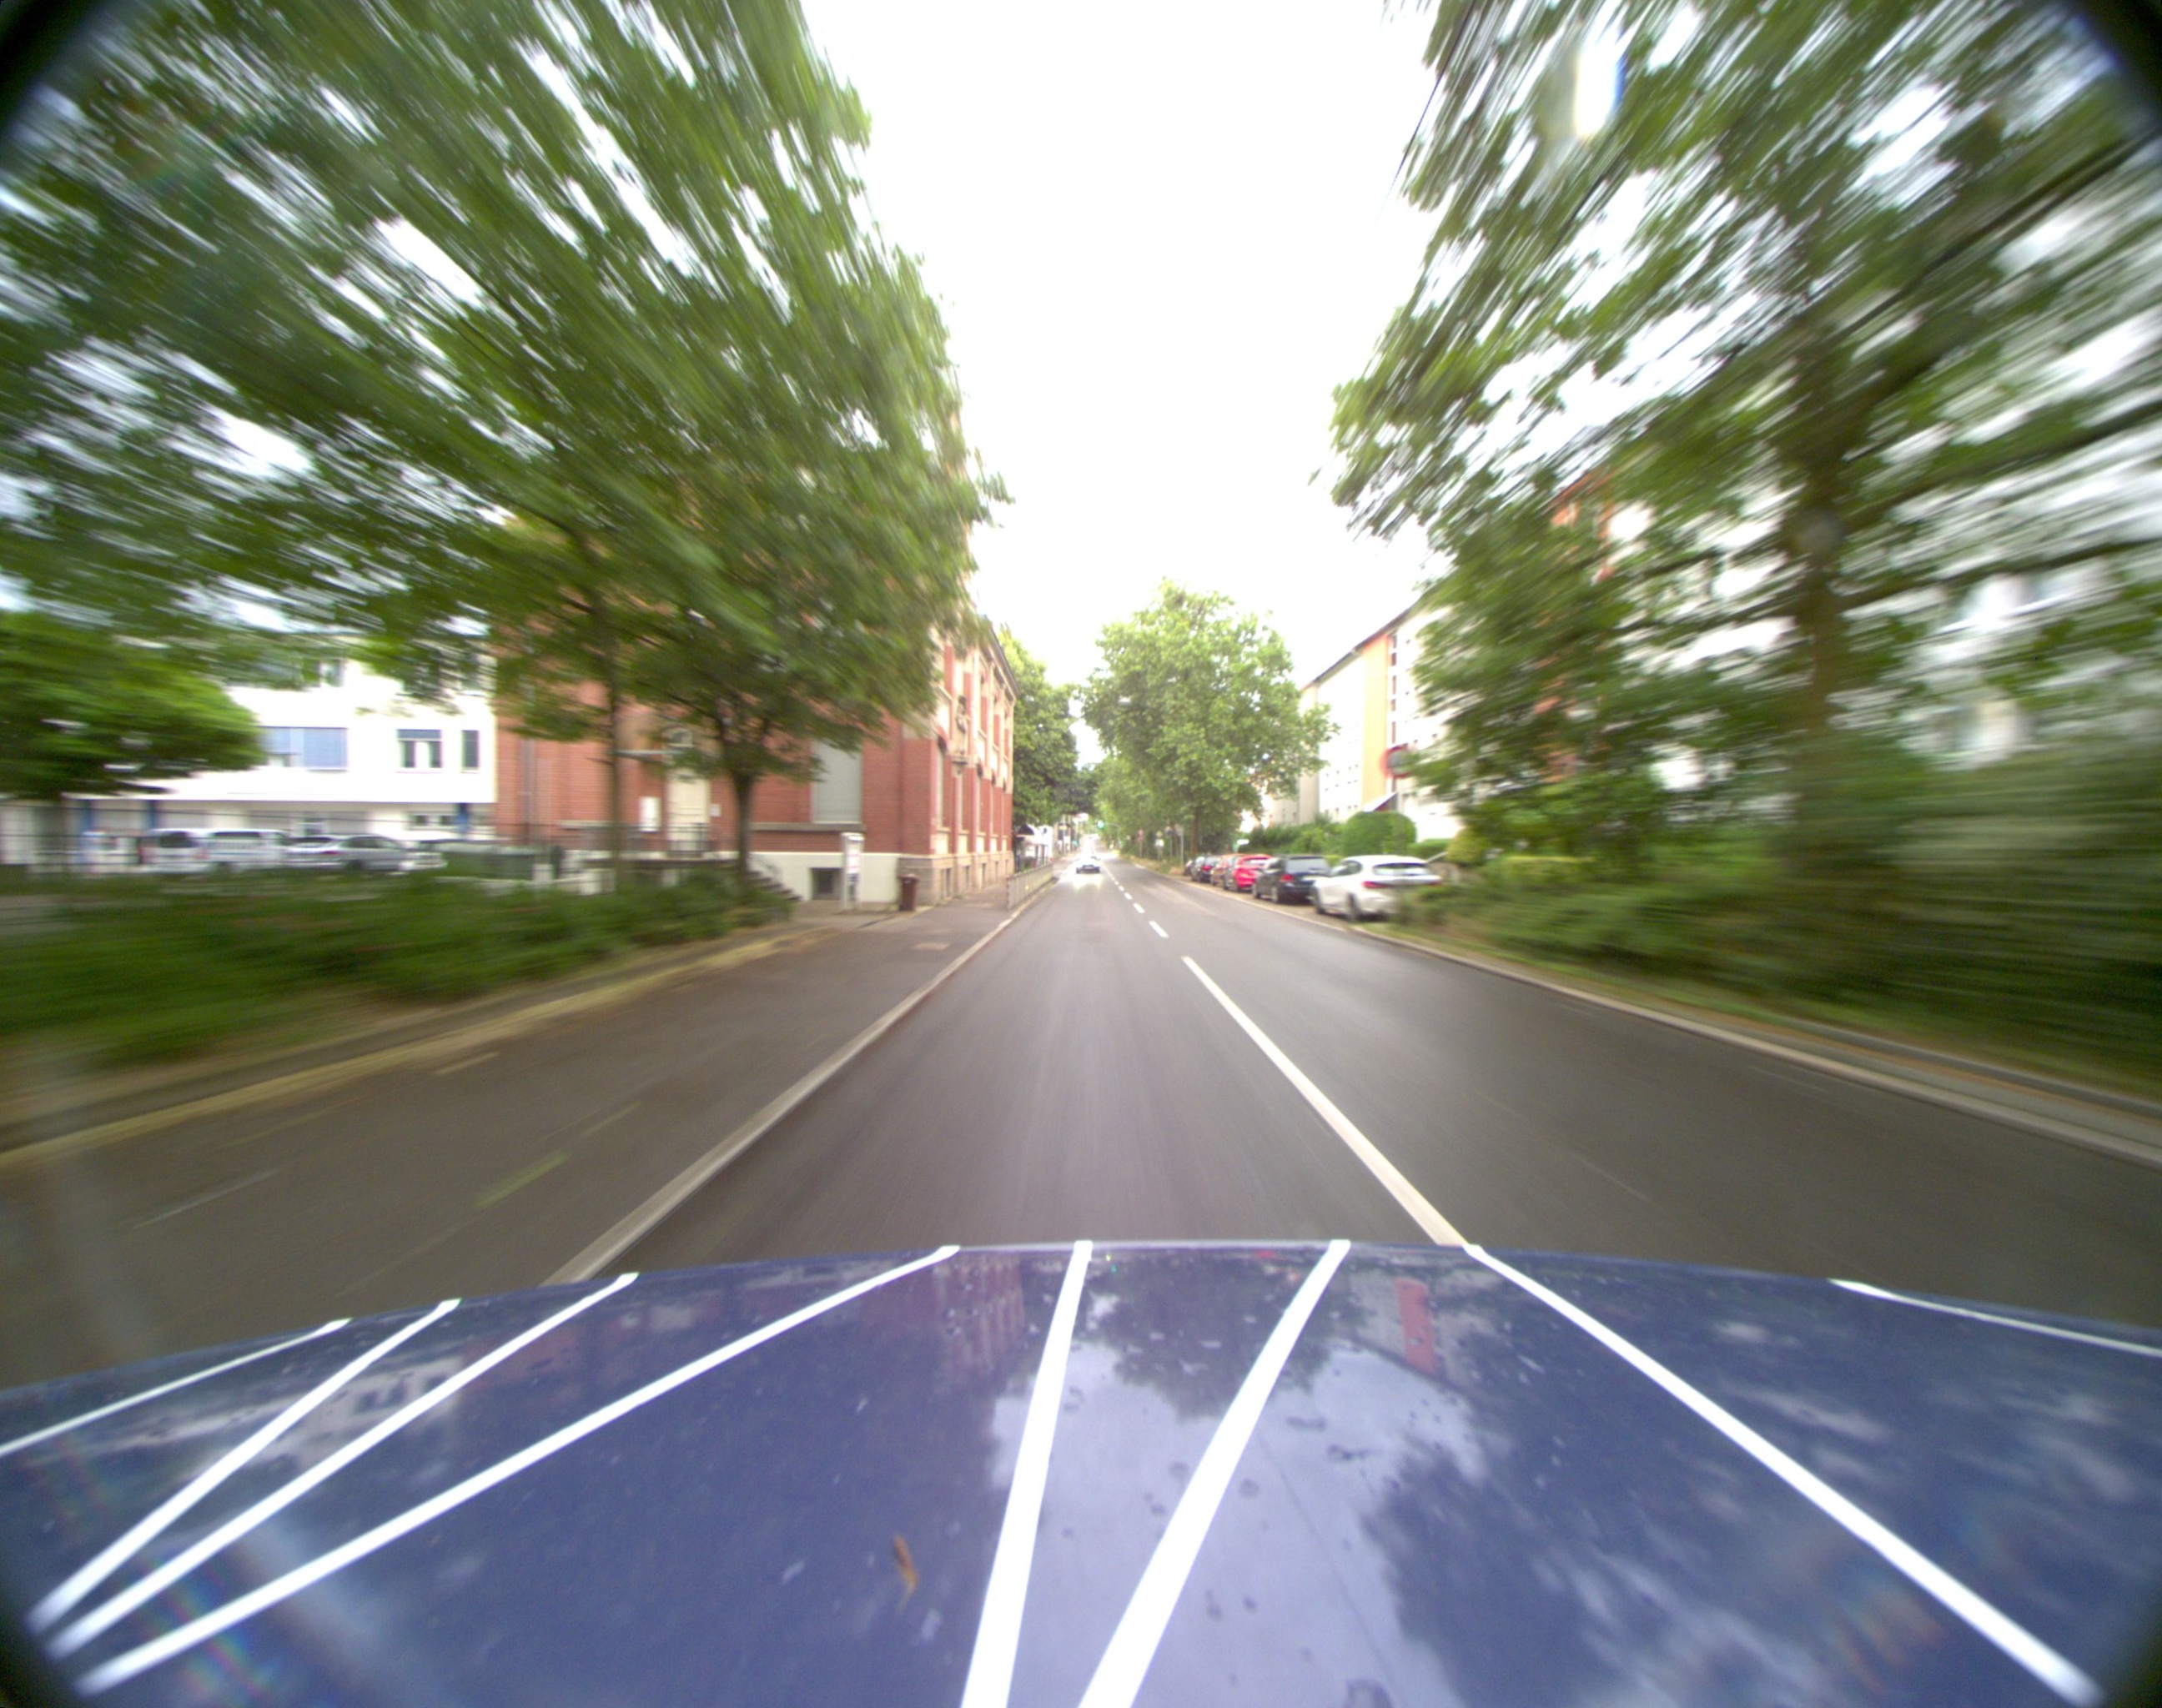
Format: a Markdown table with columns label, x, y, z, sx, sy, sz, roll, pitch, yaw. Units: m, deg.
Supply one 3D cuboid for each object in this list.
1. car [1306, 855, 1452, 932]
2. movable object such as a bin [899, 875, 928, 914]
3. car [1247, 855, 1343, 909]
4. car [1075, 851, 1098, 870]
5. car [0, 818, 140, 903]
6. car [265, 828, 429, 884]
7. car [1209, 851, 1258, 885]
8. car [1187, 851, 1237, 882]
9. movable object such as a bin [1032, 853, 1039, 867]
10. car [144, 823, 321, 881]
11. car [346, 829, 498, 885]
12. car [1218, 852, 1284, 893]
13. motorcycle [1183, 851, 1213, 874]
| label | x | y | z | sx | sy | sz | roll | pitch | yaw |
| --- | --- | --- | --- | --- | --- | --- | --- | --- | --- |
| car | 6.558 | 0.786 | 17.240 | 1.721 | 1.459 | 4.309 | -1 | 1 | 2 |
| movable object such as a bin | -4.242 | 1.019 | 19.278 | 0.592 | 0.927 | 0.572 | 2 | 1 | 0 |
| car | 6.494 | 0.796 | 23.500 | 1.721 | 1.459 | 4.233 | -1 | 1 | -1 |
| car | 0.391 | 0.454 | 58.311 | 1.692 | 1.334 | 3.998 | 0 | 1 | -2 |
| car | -25.461 | 0.162 | 17.745 | 1.819 | 1.938 | 3.997 | -2 | 2 | 1 |
| car | -26.525 | 0.020 | 27.674 | 1.913 | 1.808 | 3.997 | -2 | 2 | 1 |
| car | 7.031 | 0.621 | 35.353 | 1.559 | 1.459 | 3.396 | -1 | 1 | -1 |
| car | 6.946 | 0.623 | 40.729 | 1.721 | 1.500 | 4.803 | -1 | 1 | -1 |
| movable object such as a bin | -3.496 | 0.474 | 58.867 | 0.506 | 1.109 | 0.618 | 0 | 1 | 1 |
| car | -31.179 | -0.107 | 28.121 | 1.913 | 1.938 | 3.997 | -2 | 2 | 1 |
| car | -23.756 | 0.056 | 27.625 | 1.913 | 1.808 | 3.997 | -2 | 2 | 1 |
| car | 6.678 | 0.687 | 30.148 | 1.721 | 1.459 | 3.755 | -1 | 1 | -1 |
| motorcycle | 7.041 | 0.525 | 45.797 | 1.717 | 1.332 | 0.722 | 1 | 1 | 1 |
